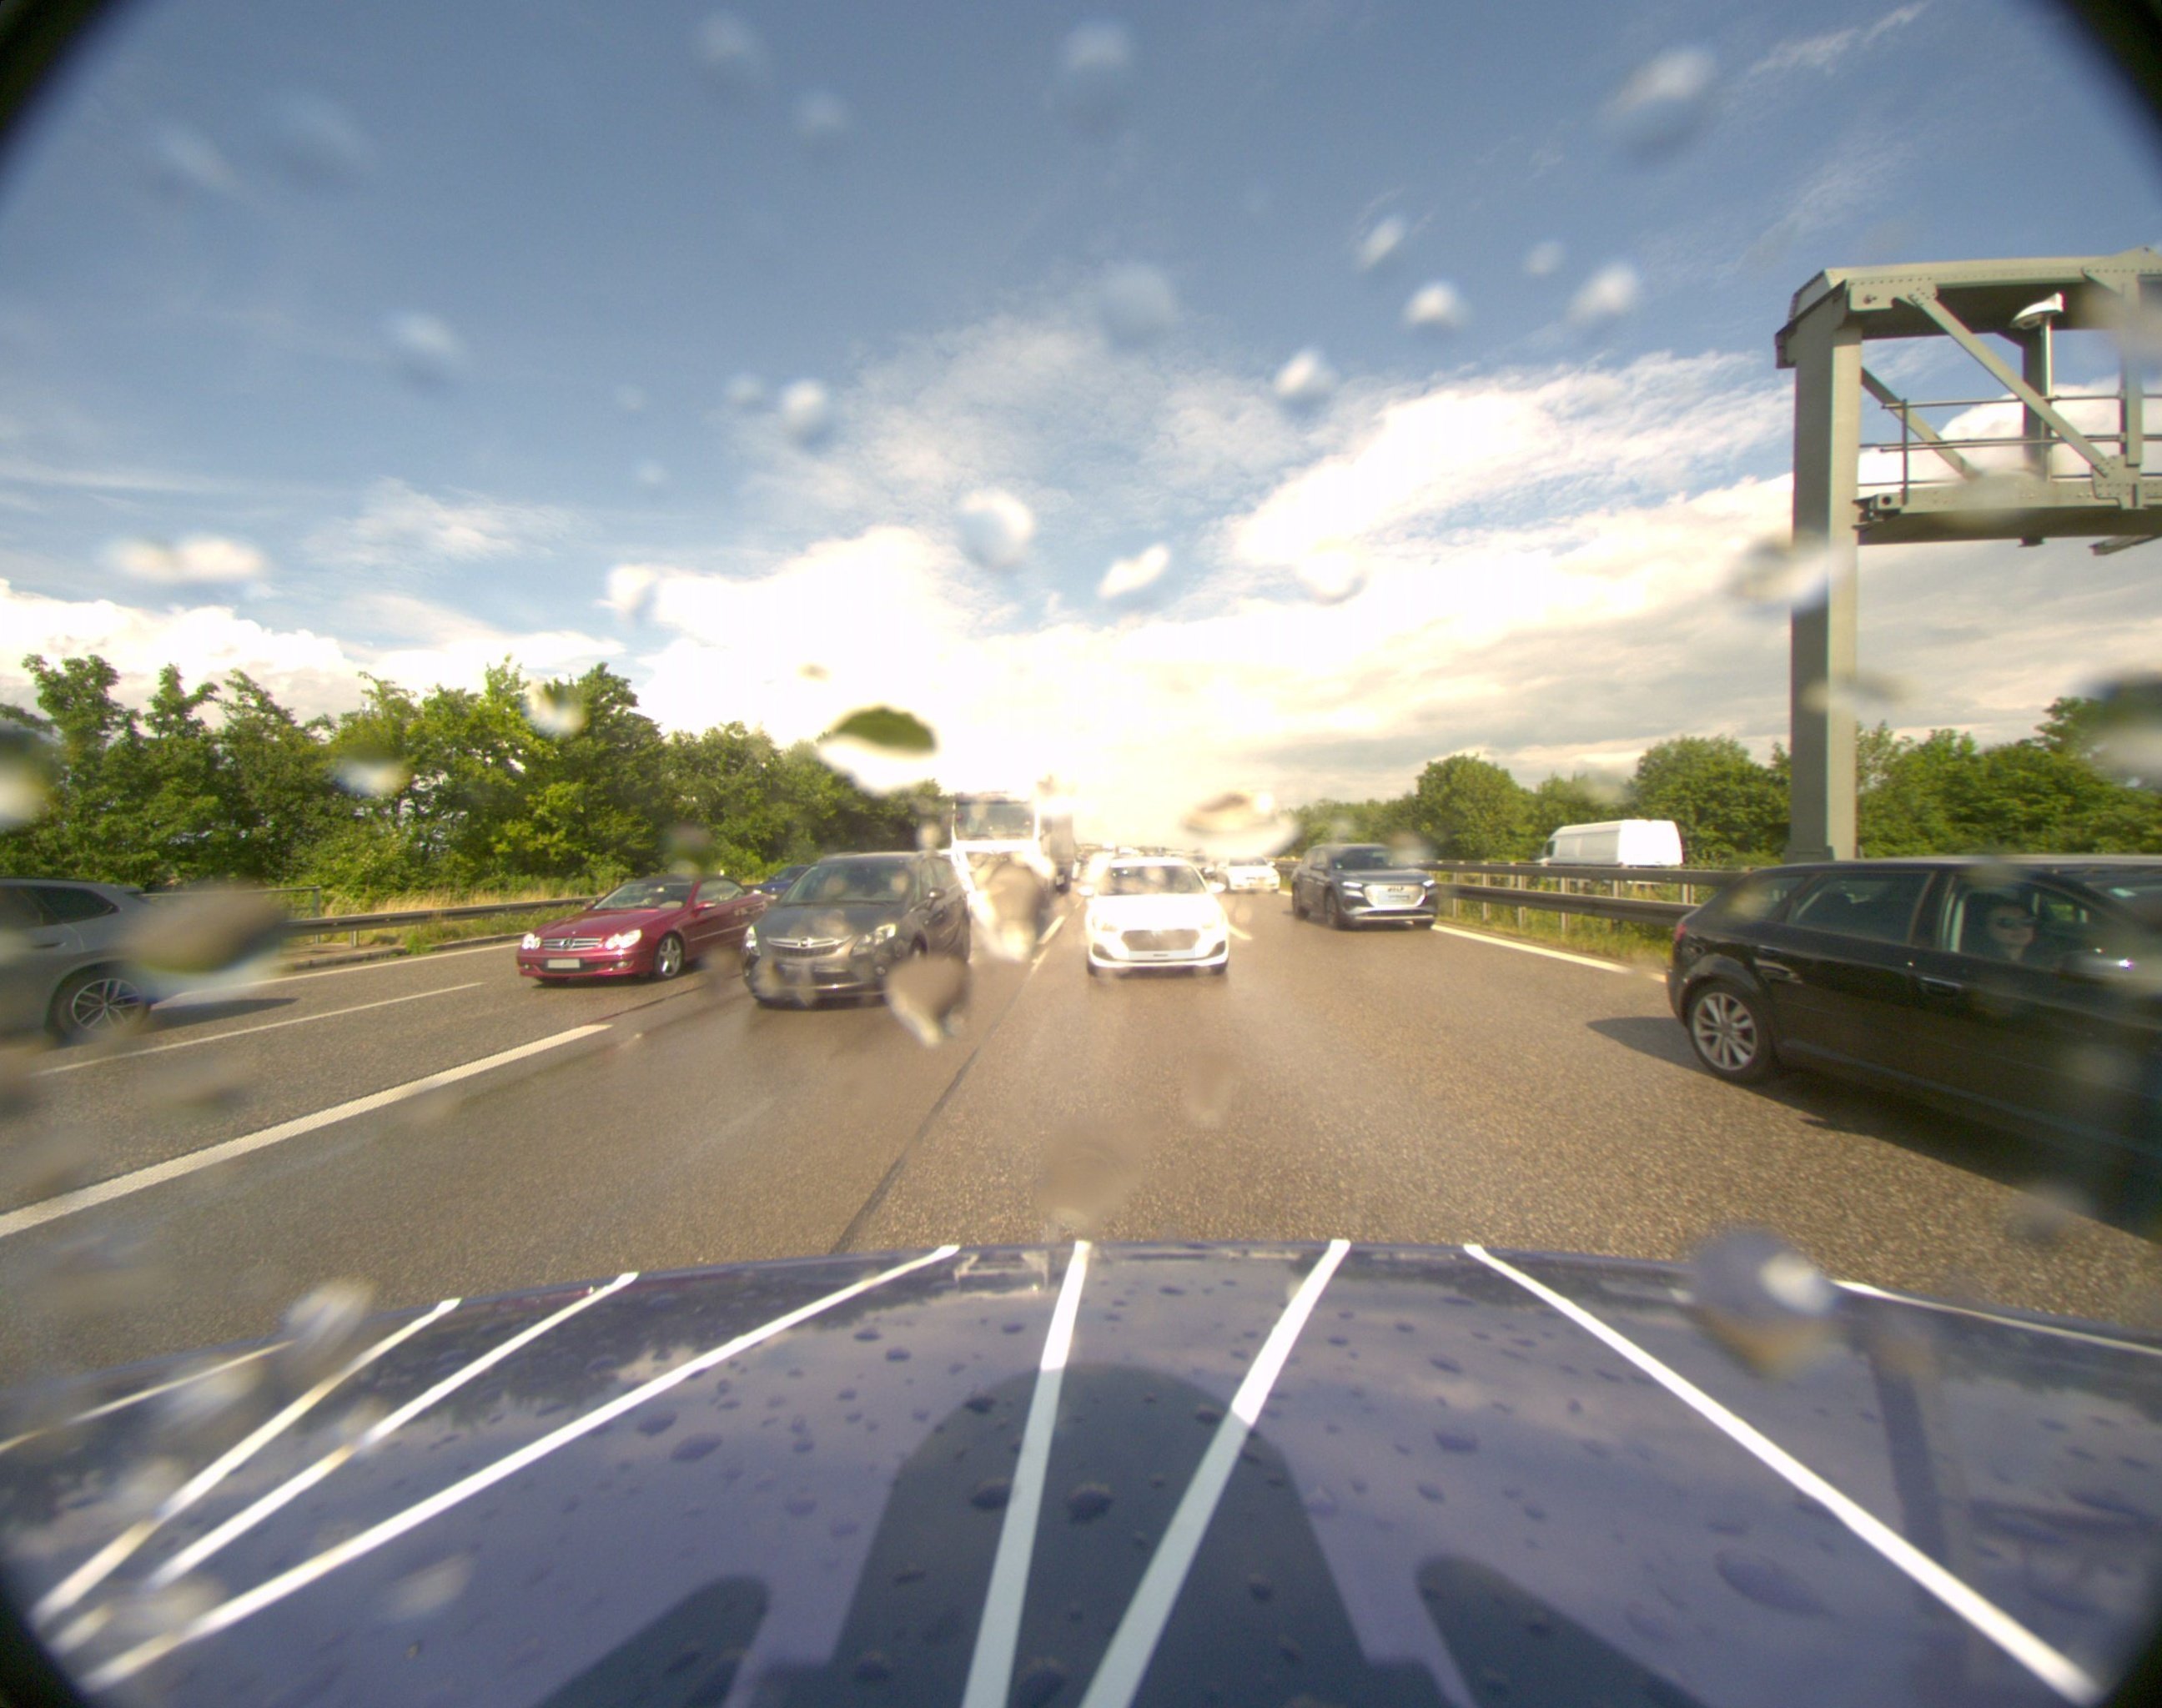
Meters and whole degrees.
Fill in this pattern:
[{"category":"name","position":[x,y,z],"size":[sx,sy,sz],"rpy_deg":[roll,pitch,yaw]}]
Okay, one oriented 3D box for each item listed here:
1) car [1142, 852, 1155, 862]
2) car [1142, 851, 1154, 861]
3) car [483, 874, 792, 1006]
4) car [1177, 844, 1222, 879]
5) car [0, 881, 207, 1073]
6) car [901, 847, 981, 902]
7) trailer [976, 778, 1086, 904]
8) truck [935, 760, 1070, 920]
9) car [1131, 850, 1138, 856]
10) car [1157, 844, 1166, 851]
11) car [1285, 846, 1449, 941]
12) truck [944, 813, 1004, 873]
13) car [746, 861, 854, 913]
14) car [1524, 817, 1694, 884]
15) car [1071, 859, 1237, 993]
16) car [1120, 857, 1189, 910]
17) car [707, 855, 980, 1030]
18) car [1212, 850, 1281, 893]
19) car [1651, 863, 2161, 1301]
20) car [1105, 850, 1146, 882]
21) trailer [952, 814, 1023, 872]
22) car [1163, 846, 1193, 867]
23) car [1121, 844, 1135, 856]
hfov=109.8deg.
[{"category":"car","position":[11.702,0.499,132.175],"size":[1.998,1.687,3.999],"rpy_deg":[-3,1,2]},{"category":"car","position":[12.726,0.447,144.834],"size":[1.998,1.687,3.999],"rpy_deg":[-3,1,2]},{"category":"car","position":[-6.214,1.101,11.417],"size":[1.756,1.402,4.512],"rpy_deg":[-2,0,3]},{"category":"car","position":[6.772,0.392,43.779],"size":[1.998,1.739,3.999],"rpy_deg":[-3,1,2]},{"category":"car","position":[-10.177,1.130,5.856],"size":[1.752,1.577,4.287],"rpy_deg":[-2,1,3]},{"category":"car","position":[-5.305,0.705,29.623],"size":[1.955,1.875,5.167],"rpy_deg":[-2,1,2]},{"category":"trailer","position":[-1.616,-0.491,30.848],"size":[2.789,4.083,11.540],"rpy_deg":[-2,1,4]},{"category":"truck","position":[-2.113,-0.402,23.682],"size":[2.816,4.083,7.446],"rpy_deg":[-2,1,4]},{"category":"car","position":[16.770,-0.451,238.709],"size":[1.998,1.687,3.999],"rpy_deg":[-3,1,2]},{"category":"car","position":[20.875,-1.766,197.239],"size":[1.998,1.768,4.461],"rpy_deg":[-2,0,3]},{"category":"car","position":[5.534,0.670,15.315],"size":[1.874,1.597,4.229],"rpy_deg":[-2,1,3]},{"category":"truck","position":[-7.429,-0.767,53.490],"size":[3.112,3.932,5.866],"rpy_deg":[-2,1,2]},{"category":"car","position":[-9.393,1.032,25.795],"size":[1.791,1.454,4.506],"rpy_deg":[-2,1,2]},{"category":"car","position":[17.534,-0.118,25.679],"size":[1.998,2.002,5.558],"rpy_deg":[-1,1,2]},{"category":"car","position":[0.926,0.851,11.045],"size":[1.886,1.446,4.548],"rpy_deg":[-1,0,2]},{"category":"car","position":[2.049,0.786,22.133],"size":[1.728,1.330,4.287],"rpy_deg":[-1,0,2]},{"category":"car","position":[-2.604,0.867,9.591],"size":[1.883,1.638,4.397],"rpy_deg":[-1,0,2]},{"category":"car","position":[6.037,0.603,28.061],"size":[1.771,1.371,3.999],"rpy_deg":[-1,1,2]},{"category":"car","position":[4.700,0.829,3.108],"size":[1.770,1.417,4.139],"rpy_deg":[-2,1,3]},{"category":"car","position":[2.259,0.600,39.753],"size":[1.998,1.477,3.999],"rpy_deg":[-2,1,2]},{"category":"trailer","position":[-7.190,-0.904,61.488],"size":[3.112,3.931,16.340],"rpy_deg":[-2,1,2]},{"category":"car","position":[7.784,0.170,61.225],"size":[1.998,1.471,3.999],"rpy_deg":[-3,1,2]},{"category":"car","position":[7.389,-0.638,119.298],"size":[1.998,1.687,3.999],"rpy_deg":[-3,1,2]}]
